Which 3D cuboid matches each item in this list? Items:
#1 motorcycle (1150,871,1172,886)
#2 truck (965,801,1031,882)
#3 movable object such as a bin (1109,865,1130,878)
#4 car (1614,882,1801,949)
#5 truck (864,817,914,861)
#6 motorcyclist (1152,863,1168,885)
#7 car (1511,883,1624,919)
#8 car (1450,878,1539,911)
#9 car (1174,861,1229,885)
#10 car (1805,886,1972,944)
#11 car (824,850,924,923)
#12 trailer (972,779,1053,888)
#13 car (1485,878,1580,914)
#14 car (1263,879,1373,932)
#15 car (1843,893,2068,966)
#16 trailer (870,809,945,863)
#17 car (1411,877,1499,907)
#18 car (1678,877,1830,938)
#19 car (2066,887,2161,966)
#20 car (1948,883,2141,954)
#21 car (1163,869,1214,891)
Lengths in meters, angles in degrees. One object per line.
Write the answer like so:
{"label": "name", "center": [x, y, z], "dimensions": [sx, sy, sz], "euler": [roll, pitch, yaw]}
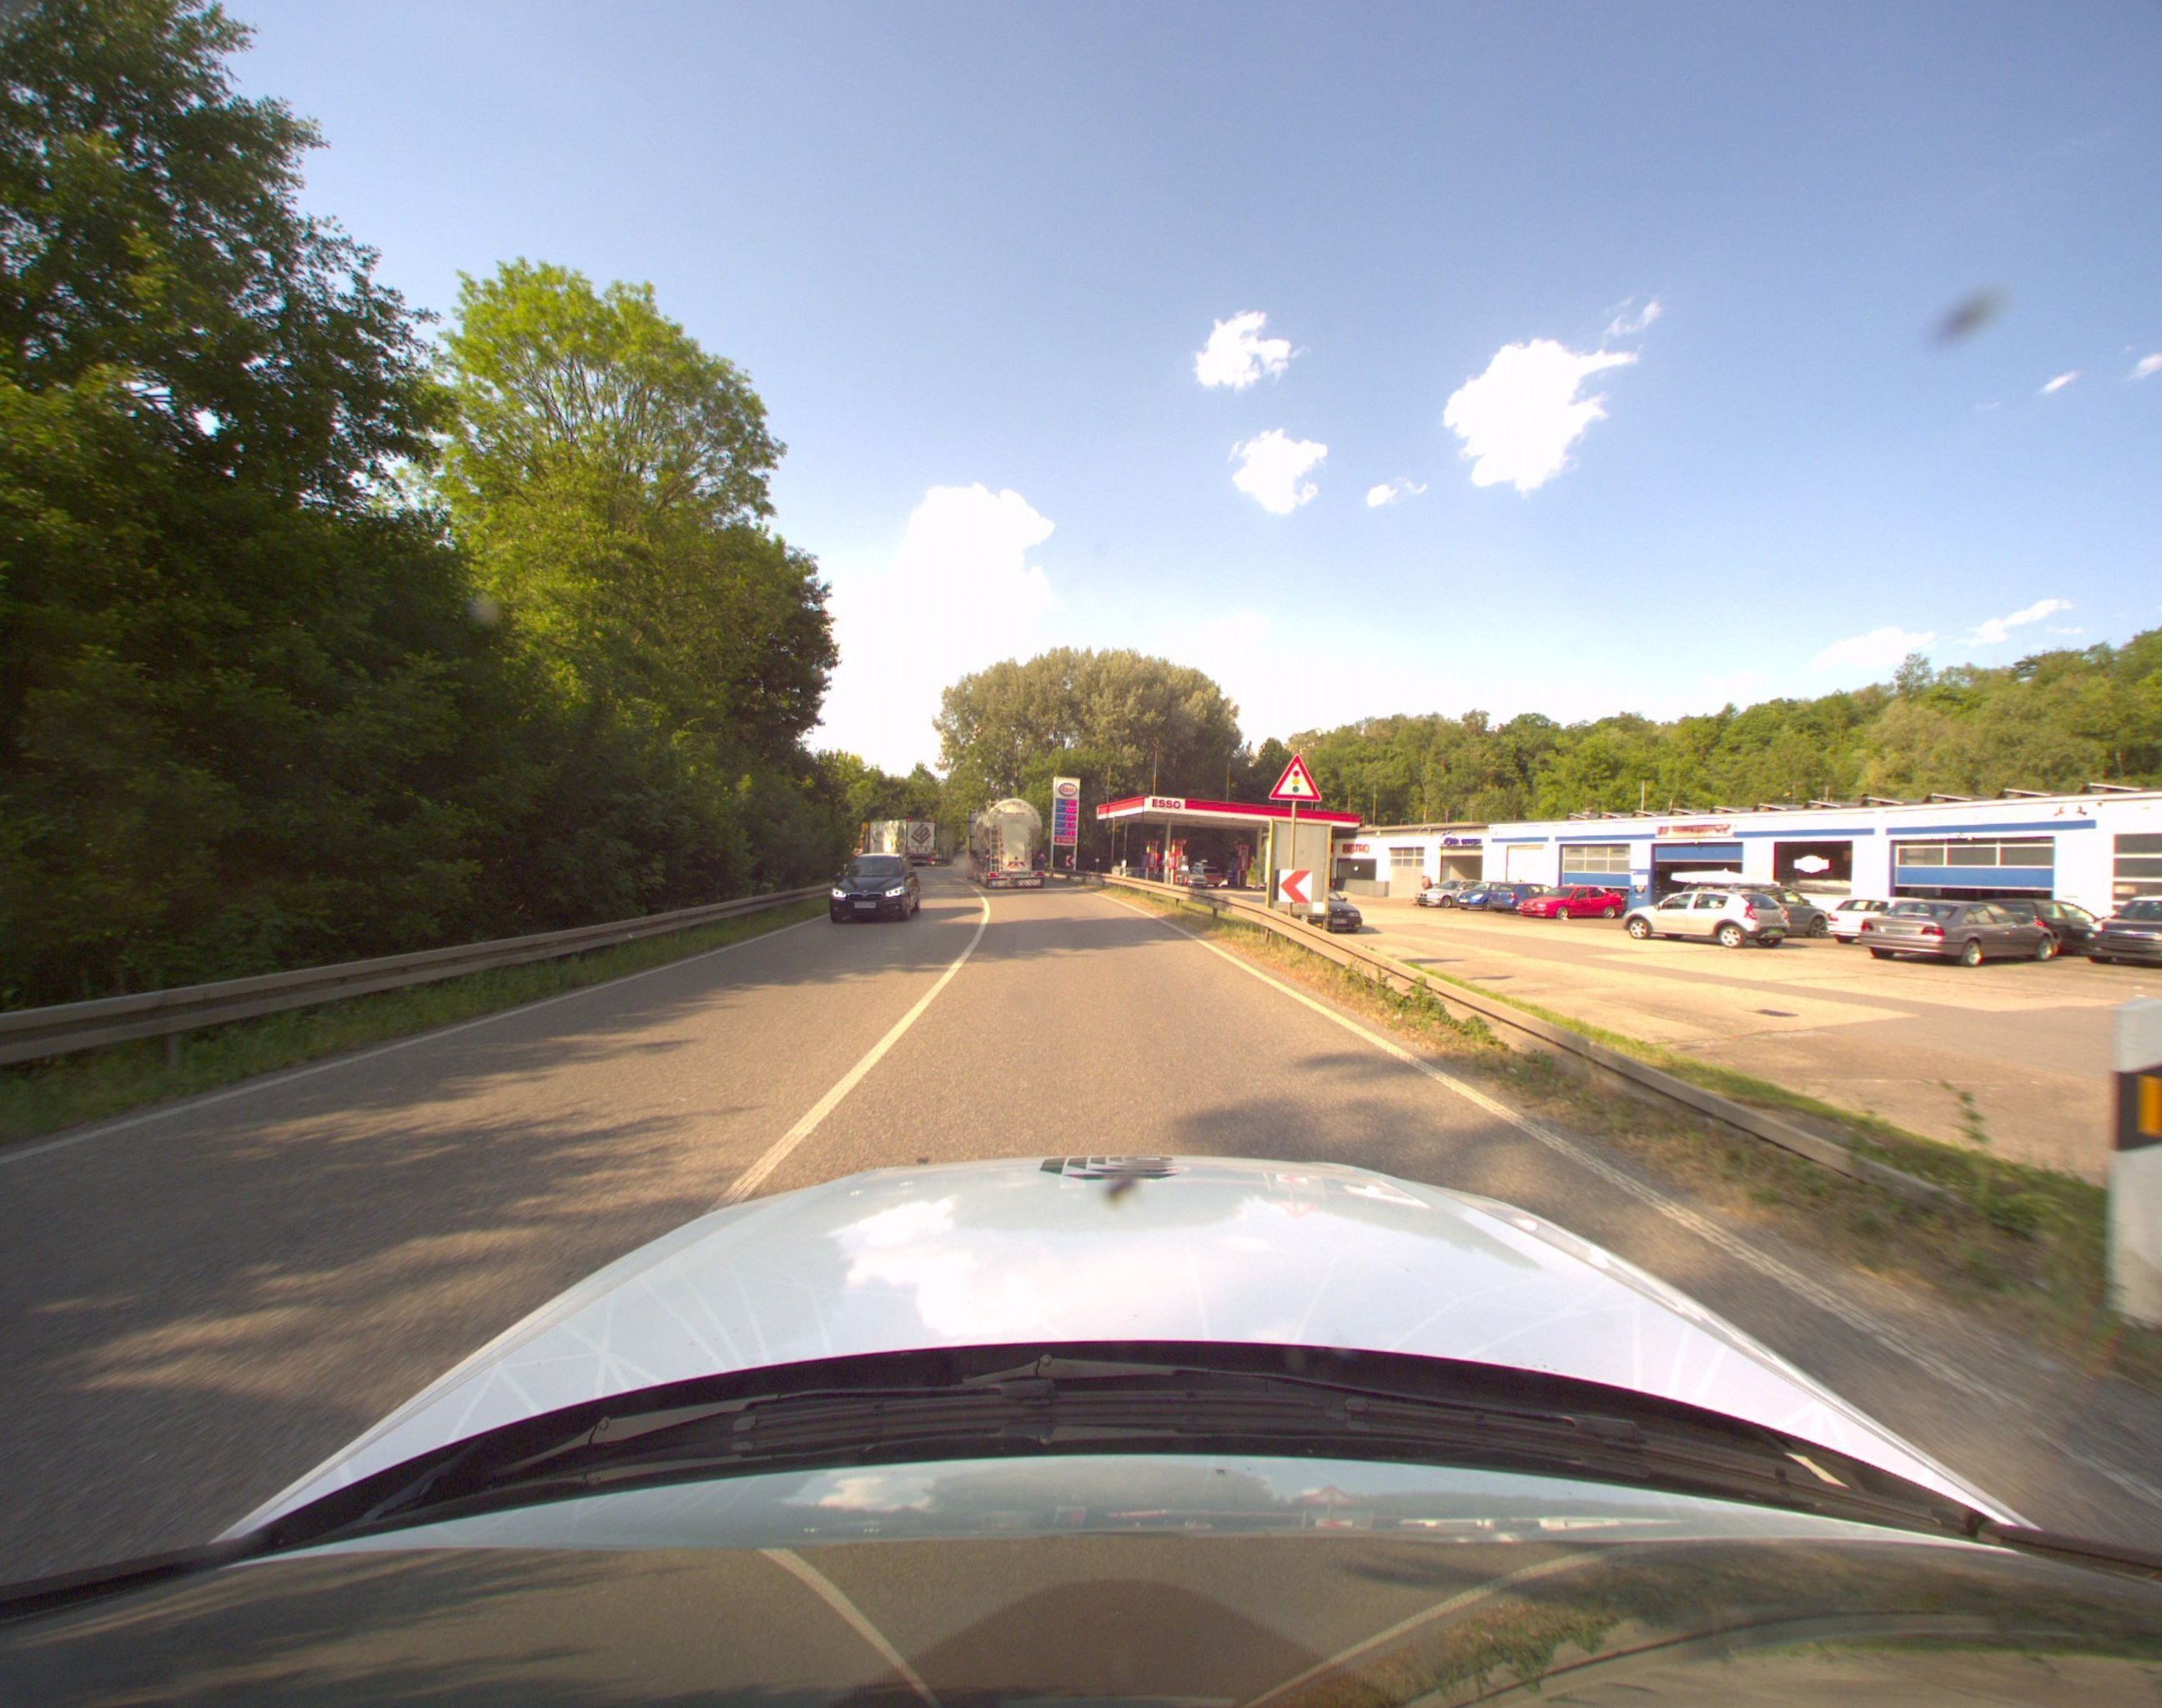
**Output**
{"label": "motorcycle", "center": [5.822, 1.778, 59.473], "dimensions": [0.763, 1.012, 2.328], "euler": [2, 0, -17]}
{"label": "truck", "center": [-4.580, -0.634, 43.959], "dimensions": [2.827, 4.035, 5.869], "euler": [0, 0, -13]}
{"label": "movable object such as a bin", "center": [4.631, 2.156, 98.656], "dimensions": [1.274, 1.420, 2.533], "euler": [6, -2, -30]}
{"label": "car", "center": [17.988, 1.701, 23.605], "dimensions": [1.796, 1.596, 3.962], "euler": [0, 0, -20]}
{"label": "truck", "center": [-19.098, -1.364, 80.600], "dimensions": [3.468, 4.086, 6.435], "euler": [1, -1, -26]}
{"label": "motorcyclist", "center": [5.774, 1.470, 59.709], "dimensions": [0.860, 1.605, 0.922], "euler": [3, -1, -17]}
{"label": "car", "center": [20.542, 1.947, 34.437], "dimensions": [4.076, 1.348, 1.884], "euler": [0, 0, -17]}
{"label": "car", "center": [19.510, 1.911, 38.484], "dimensions": [3.558, 1.406, 1.681], "euler": [2, 0, -17]}
{"label": "car", "center": [9.038, 1.379, 61.559], "dimensions": [2.097, 1.628, 5.150], "euler": [2, 0, -17]}
{"label": "car", "center": [23.929, 1.762, 24.168], "dimensions": [4.156, 1.461, 1.859], "euler": [0, 0, -18]}
{"label": "car", "center": [-5.069, 0.731, 20.461], "dimensions": [1.866, 1.589, 4.238], "euler": [-1, 0, -7]}
{"label": "trailer", "center": [-3.446, -0.847, 38.432], "dimensions": [2.887, 4.454, 9.572], "euler": [-1, 0, -10]}
{"label": "car", "center": [20.174, 1.876, 36.430], "dimensions": [3.551, 1.445, 1.724], "euler": [2, -1, -17]}
{"label": "car", "center": [7.264, 1.544, 25.428], "dimensions": [1.822, 1.352, 4.263], "euler": [1, 0, -6]}
{"label": "car", "center": [21.104, 1.746, 19.676], "dimensions": [4.733, 1.434, 1.945], "euler": [0, 0, -19]}
{"label": "trailer", "center": [-16.169, -1.466, 74.971], "dimensions": [3.565, 4.513, 12.868], "euler": [1, -1, -27]}
{"label": "car", "center": [18.788, 1.887, 40.972], "dimensions": [3.970, 1.354, 1.765], "euler": [1, 0, -21]}
{"label": "car", "center": [21.631, 1.650, 26.193], "dimensions": [4.261, 1.729, 1.880], "euler": [0, 0, -19]}
{"label": "car", "center": [25.634, 1.637, 19.018], "dimensions": [4.250, 1.610, 1.884], "euler": [0, 0, -17]}
{"label": "car", "center": [25.516, 1.644, 21.603], "dimensions": [3.996, 1.610, 1.884], "euler": [0, 0, -17]}
{"label": "car", "center": [7.378, 1.757, 56.310], "dimensions": [1.846, 1.319, 4.366], "euler": [2, 0, -16]}
